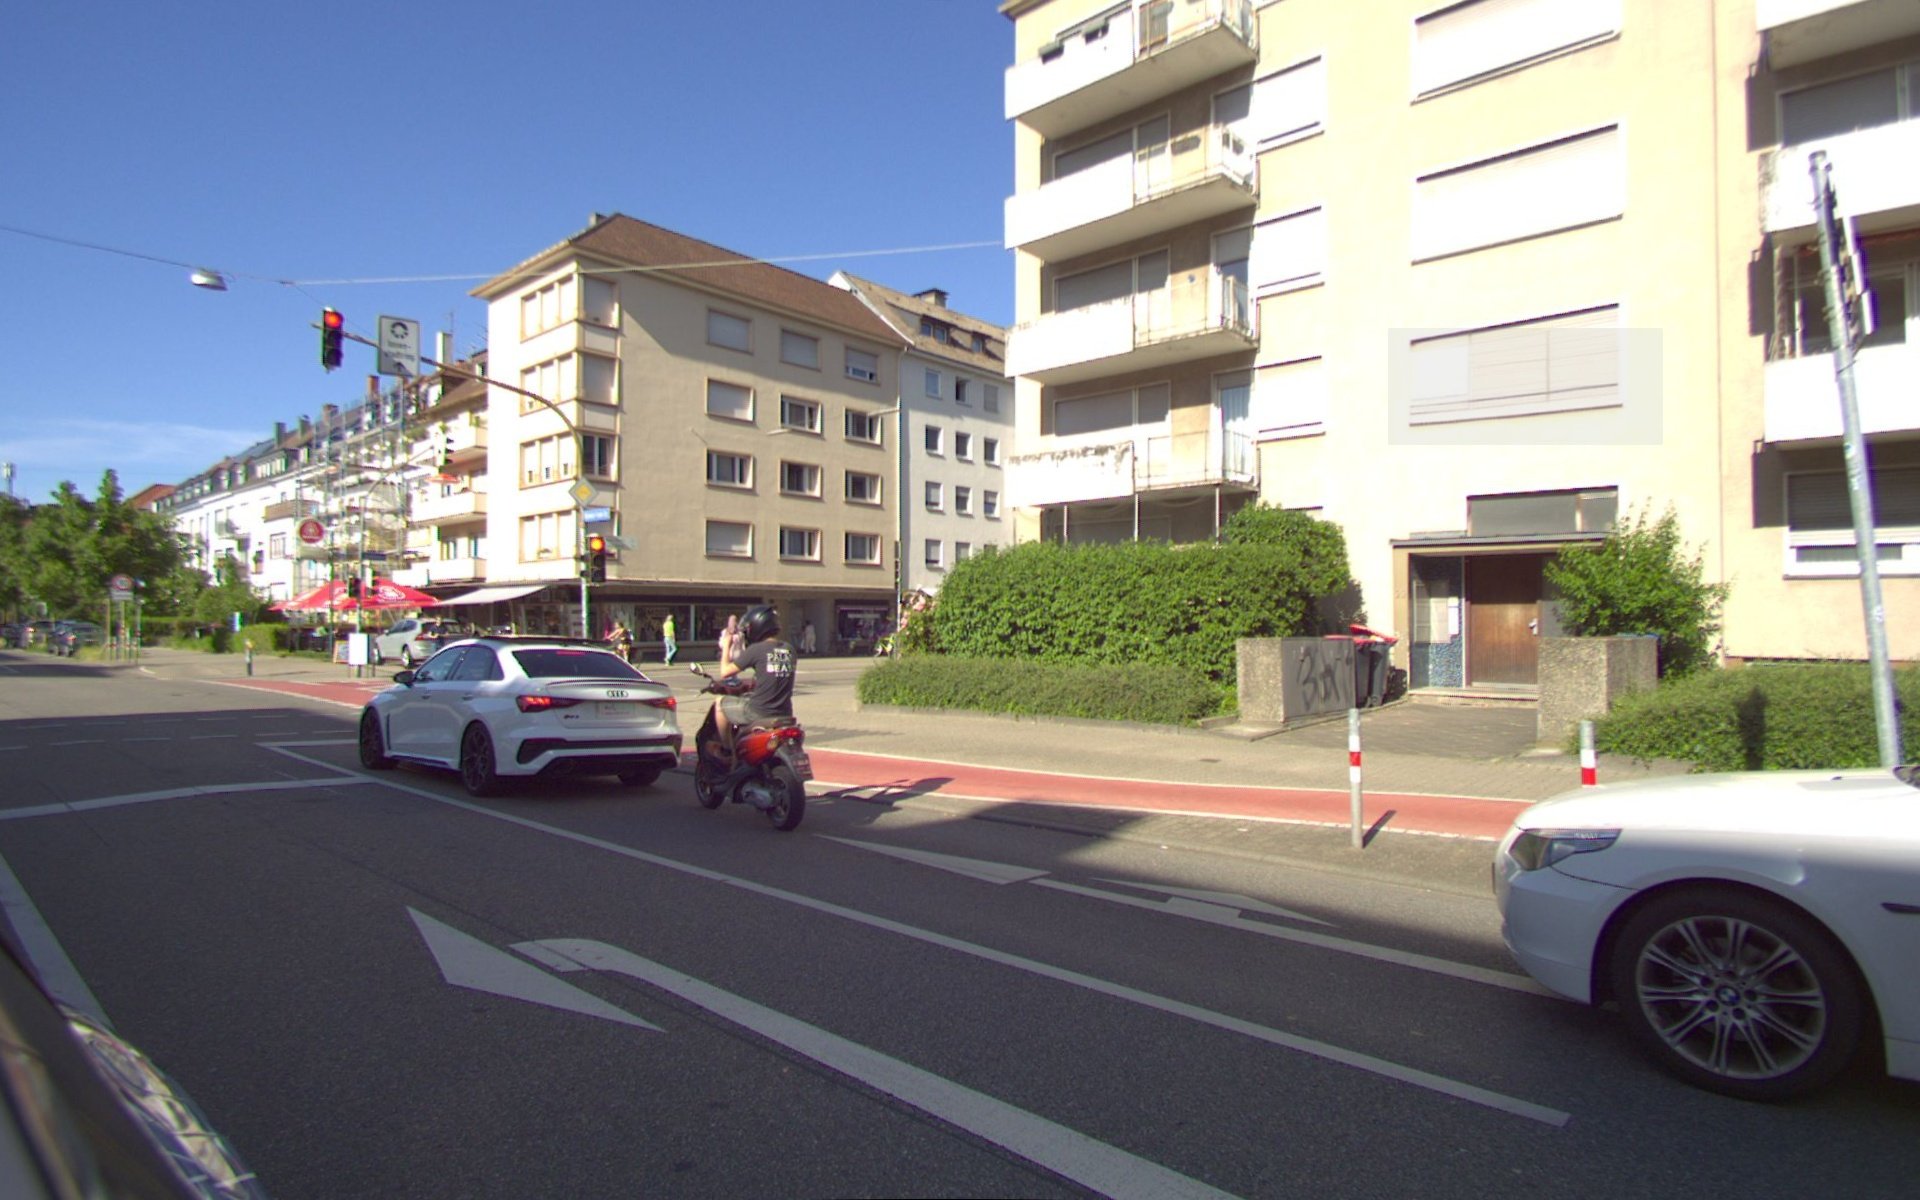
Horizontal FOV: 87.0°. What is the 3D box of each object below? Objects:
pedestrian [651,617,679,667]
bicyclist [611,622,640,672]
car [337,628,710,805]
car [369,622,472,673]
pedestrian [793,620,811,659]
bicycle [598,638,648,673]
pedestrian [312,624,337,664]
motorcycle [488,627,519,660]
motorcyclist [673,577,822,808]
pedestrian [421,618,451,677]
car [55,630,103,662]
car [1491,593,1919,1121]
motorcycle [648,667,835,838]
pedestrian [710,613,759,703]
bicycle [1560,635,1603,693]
[{"bbox_3d":[-10.600,1.506,36.358,0.683,1.747,0.718,0,-1,40],"label":"pedestrian"},{"bbox_3d":[-10.863,1.510,32.866,0.578,1.619,0.677,-1,-2,40],"label":"bicyclist"},{"bbox_3d":[-4.584,1.024,10.280,4.504,1.417,1.680,-1,-4,41],"label":"car"},{"bbox_3d":[-18.361,1.558,34.369,4.304,1.635,1.741,-1,-2,43],"label":"car"},{"bbox_3d":[-6.747,1.678,43.237,0.719,1.658,0.563,0,-1,1],"label":"pedestrian"},{"bbox_3d":[-10.917,1.788,32.822,0.449,1.085,1.545,-1,-2,40],"label":"bicycle"},{"bbox_3d":[-25.443,1.746,40.512,0.535,1.521,0.635,-1,2,40],"label":"pedestrian"},{"bbox_3d":[-19.461,1.846,43.117,1.763,1.378,0.562,-2,-2,44],"label":"motorcycle"},{"bbox_3d":[-1.657,0.693,7.876,0.720,1.659,0.918,4,-4,-43],"label":"motorcyclist"},{"bbox_3d":[-15.658,1.406,30.253,0.661,1.731,0.585,1,-1,-39],"label":"pedestrian"},{"bbox_3d":[-39.655,2.028,45.537,3.093,1.366,1.305,-1,-2,43],"label":"car"},{"bbox_3d":[4.245,0.739,2.643,4.777,1.476,1.794,-1,-4,43],"label":"car"},{"bbox_3d":[-1.747,1.114,7.877,0.442,1.130,1.934,4,-4,-44],"label":"motorcycle"},{"bbox_3d":[-4.308,1.092,19.356,0.682,1.671,0.650,-2,-2,43],"label":"pedestrian"},{"bbox_3d":[9.412,0.957,15.342,0.307,0.825,0.859,-1,-1,16],"label":"bicycle"}]
